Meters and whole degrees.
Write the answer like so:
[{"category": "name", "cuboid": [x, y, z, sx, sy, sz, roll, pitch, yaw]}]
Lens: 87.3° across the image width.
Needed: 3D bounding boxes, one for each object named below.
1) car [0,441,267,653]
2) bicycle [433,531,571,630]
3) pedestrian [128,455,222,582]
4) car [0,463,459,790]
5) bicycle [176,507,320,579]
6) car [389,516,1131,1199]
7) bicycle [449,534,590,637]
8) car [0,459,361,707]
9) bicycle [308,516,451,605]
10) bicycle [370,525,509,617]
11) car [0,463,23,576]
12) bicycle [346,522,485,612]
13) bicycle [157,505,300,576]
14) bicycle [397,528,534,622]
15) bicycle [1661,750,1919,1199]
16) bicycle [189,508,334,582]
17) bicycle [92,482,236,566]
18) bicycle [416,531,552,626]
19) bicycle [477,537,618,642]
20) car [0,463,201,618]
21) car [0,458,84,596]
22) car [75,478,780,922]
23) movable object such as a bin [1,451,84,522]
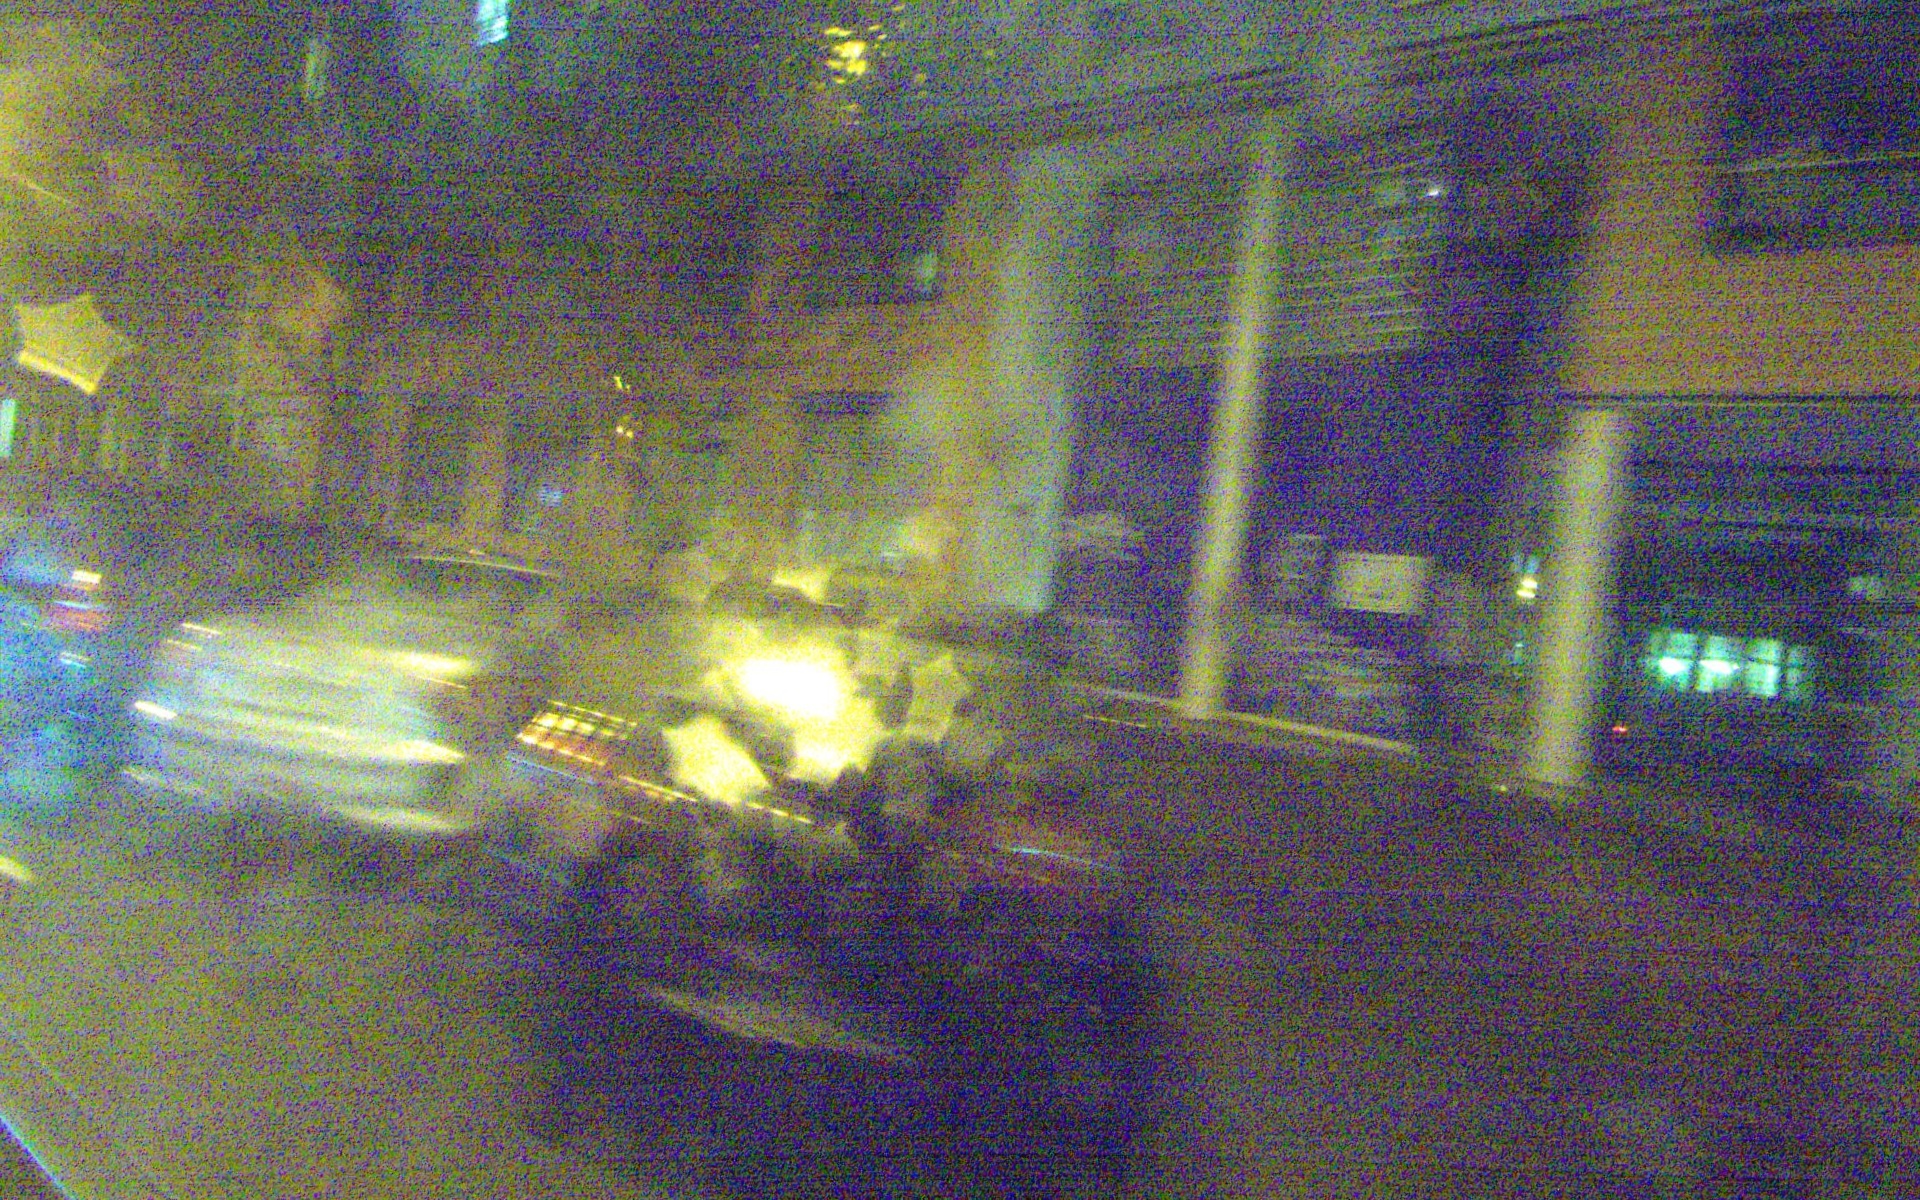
[{"category": "car", "cuboid": [-8.929, -0.543, 9.136, 1.823, 1.785, 4.111, 8, -1, 10]}, {"category": "bicycle", "cuboid": [-5.888, -0.234, 13.031, 0.421, 1.162, 1.687, 8, 3, 24]}, {"category": "pedestrian", "cuboid": [-12.042, -1.240, 15.442, 0.931, 1.862, 0.838, 6, 5, 29]}, {"category": "car", "cuboid": [-4.998, 0.110, 6.465, 1.476, 1.570, 3.051, 8, -1, 11]}, {"category": "bicycle", "cuboid": [-12.172, -0.954, 17.276, 0.501, 1.069, 1.974, 7, 3, 26]}, {"category": "car", "cuboid": [-0.271, 0.648, 4.153, 1.625, 1.542, 3.711, 6, 1, 7]}, {"category": "bicycle", "cuboid": [-5.449, -0.163, 12.549, 0.421, 1.162, 1.687, 8, 3, 24]}, {"category": "car", "cuboid": [-6.905, -0.161, 7.896, 1.680, 1.630, 3.569, 8, -1, 11]}, {"category": "bicycle", "cuboid": [-8.468, -0.545, 14.746, 0.653, 1.162, 1.687, 8, 3, 24]}, {"category": "bicycle", "cuboid": [-7.207, -0.382, 14.017, 0.532, 1.162, 1.687, 8, 3, 24]}, {"category": "car", "cuboid": [-15.776, -1.403, 14.039, 1.686, 1.749, 3.775, 8, -1, -1]}, {"category": "bicycle", "cuboid": [-7.753, -0.449, 14.403, 0.586, 1.162, 1.687, 8, 3, 24]}, {"category": "bicycle", "cuboid": [-12.730, -1.017, 17.571, 0.501, 1.069, 1.974, 7, 3, 26]}, {"category": "bicycle", "cuboid": [-6.720, -0.318, 13.754, 0.477, 1.162, 1.687, 8, 3, 24]}, {"category": "bicycle", "cuboid": [2.193, 1.073, 2.433, 0.669, 1.173, 1.889, 8, 2, 35]}, {"category": "bicycle", "cuboid": [-11.713, -0.897, 16.943, 0.501, 1.069, 1.974, 7, 3, 26]}, {"category": "bicycle", "cuboid": [-15.007, -1.409, 19.019, 0.771, 1.353, 1.968, 8, 3, 38]}, {"category": "bicycle", "cuboid": [-6.309, -0.268, 13.425, 0.421, 1.162, 1.687, 8, 3, 24]}, {"category": "bicycle", "cuboid": [-5.016, -0.118, 12.339, 0.421, 1.162, 1.687, 8, 3, 24]}, {"category": "car", "cuboid": [-11.316, -0.785, 11.410, 1.809, 1.630, 4.066, 8, -1, 9]}, {"category": "car", "cuboid": [-13.429, -1.112, 12.237, 1.708, 1.749, 3.806, 8, -1, 10]}, {"category": "car", "cuboid": [-2.453, 0.362, 5.765, 1.625, 1.542, 3.711, 6, 1, 7]}, {"category": "movable object such as a bin", "cuboid": [-21.182, -2.616, 23.232, 0.982, 1.472, 1.208, 8, 5, 32]}]
